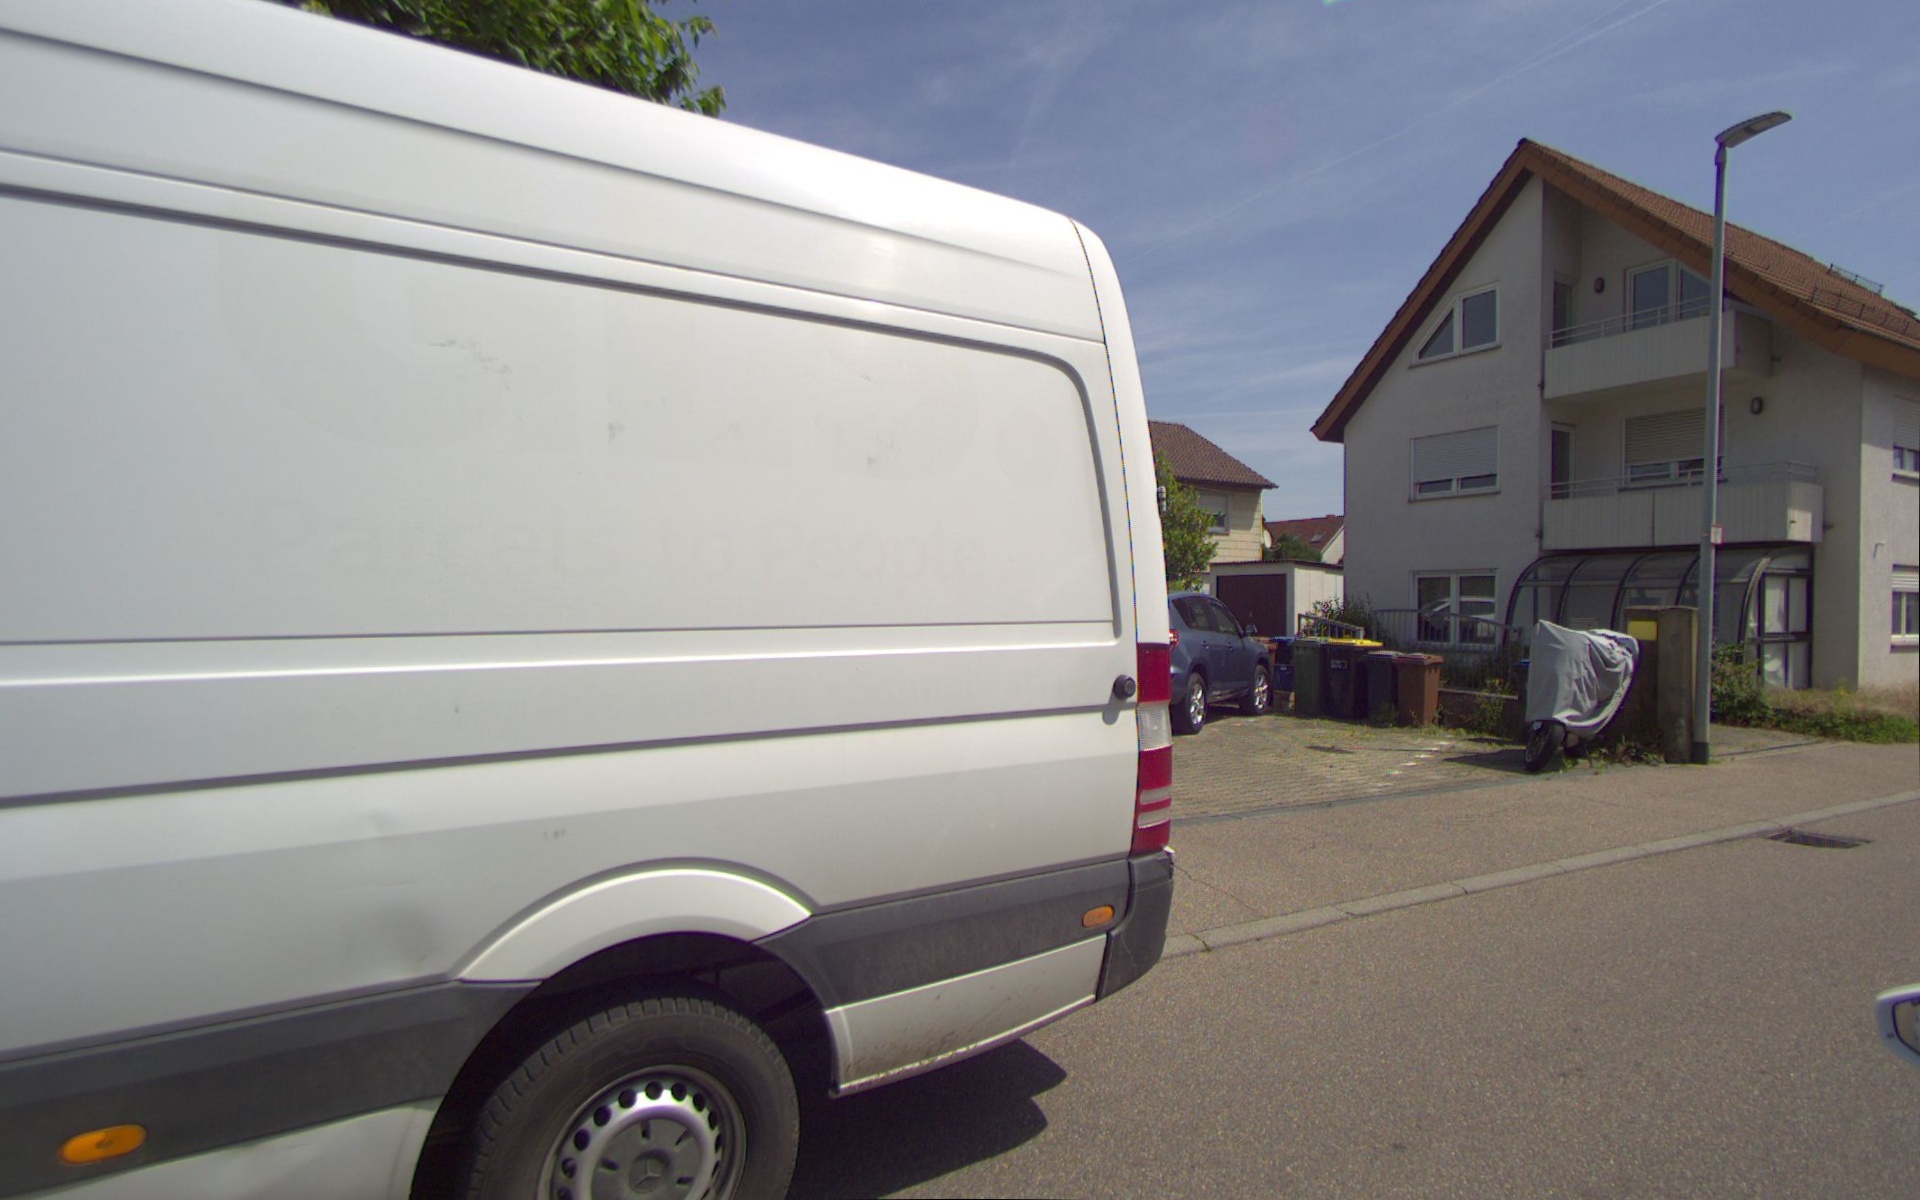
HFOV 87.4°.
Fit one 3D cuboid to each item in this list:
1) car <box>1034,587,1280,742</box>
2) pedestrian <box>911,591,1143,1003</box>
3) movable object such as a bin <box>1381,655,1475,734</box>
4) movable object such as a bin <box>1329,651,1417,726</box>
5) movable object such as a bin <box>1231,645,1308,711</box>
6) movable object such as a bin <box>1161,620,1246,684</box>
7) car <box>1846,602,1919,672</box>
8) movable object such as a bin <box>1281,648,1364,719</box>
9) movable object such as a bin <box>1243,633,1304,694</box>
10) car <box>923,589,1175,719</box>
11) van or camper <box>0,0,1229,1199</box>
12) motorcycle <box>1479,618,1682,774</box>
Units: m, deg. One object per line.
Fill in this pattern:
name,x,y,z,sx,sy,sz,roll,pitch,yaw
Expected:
car,2.716,0.732,13.148,1.744,1.700,3.927,1,-1,34
pedestrian,0.273,0.750,4.210,0.718,1.538,0.569,1,2,-32
movable object such as a bin,5.944,1.184,12.771,0.765,0.917,0.796,1,0,-31
movable object such as a bin,5.530,1.166,13.462,0.765,0.917,0.796,1,0,-31
movable object such as a bin,4.639,1.146,15.066,0.765,0.917,0.795,1,0,-33
movable object such as a bin,4.283,0.899,17.698,0.850,1.055,1.178,1,0,-32
car,24.182,0.968,24.746,1.695,1.598,3.093,1,3,-31
movable object such as a bin,5.103,1.156,14.156,0.765,0.917,0.796,1,0,-31
movable object such as a bin,5.014,1.004,16.087,0.473,0.910,0.808,1,0,-32
car,1.475,0.738,15.275,1.709,1.700,4.085,0,-1,42
van or camper,-2.705,0.085,2.004,6.728,2.606,2.173,1,1,-31
motorcycle,6.277,0.906,10.114,2.326,1.411,0.779,1,0,-32
